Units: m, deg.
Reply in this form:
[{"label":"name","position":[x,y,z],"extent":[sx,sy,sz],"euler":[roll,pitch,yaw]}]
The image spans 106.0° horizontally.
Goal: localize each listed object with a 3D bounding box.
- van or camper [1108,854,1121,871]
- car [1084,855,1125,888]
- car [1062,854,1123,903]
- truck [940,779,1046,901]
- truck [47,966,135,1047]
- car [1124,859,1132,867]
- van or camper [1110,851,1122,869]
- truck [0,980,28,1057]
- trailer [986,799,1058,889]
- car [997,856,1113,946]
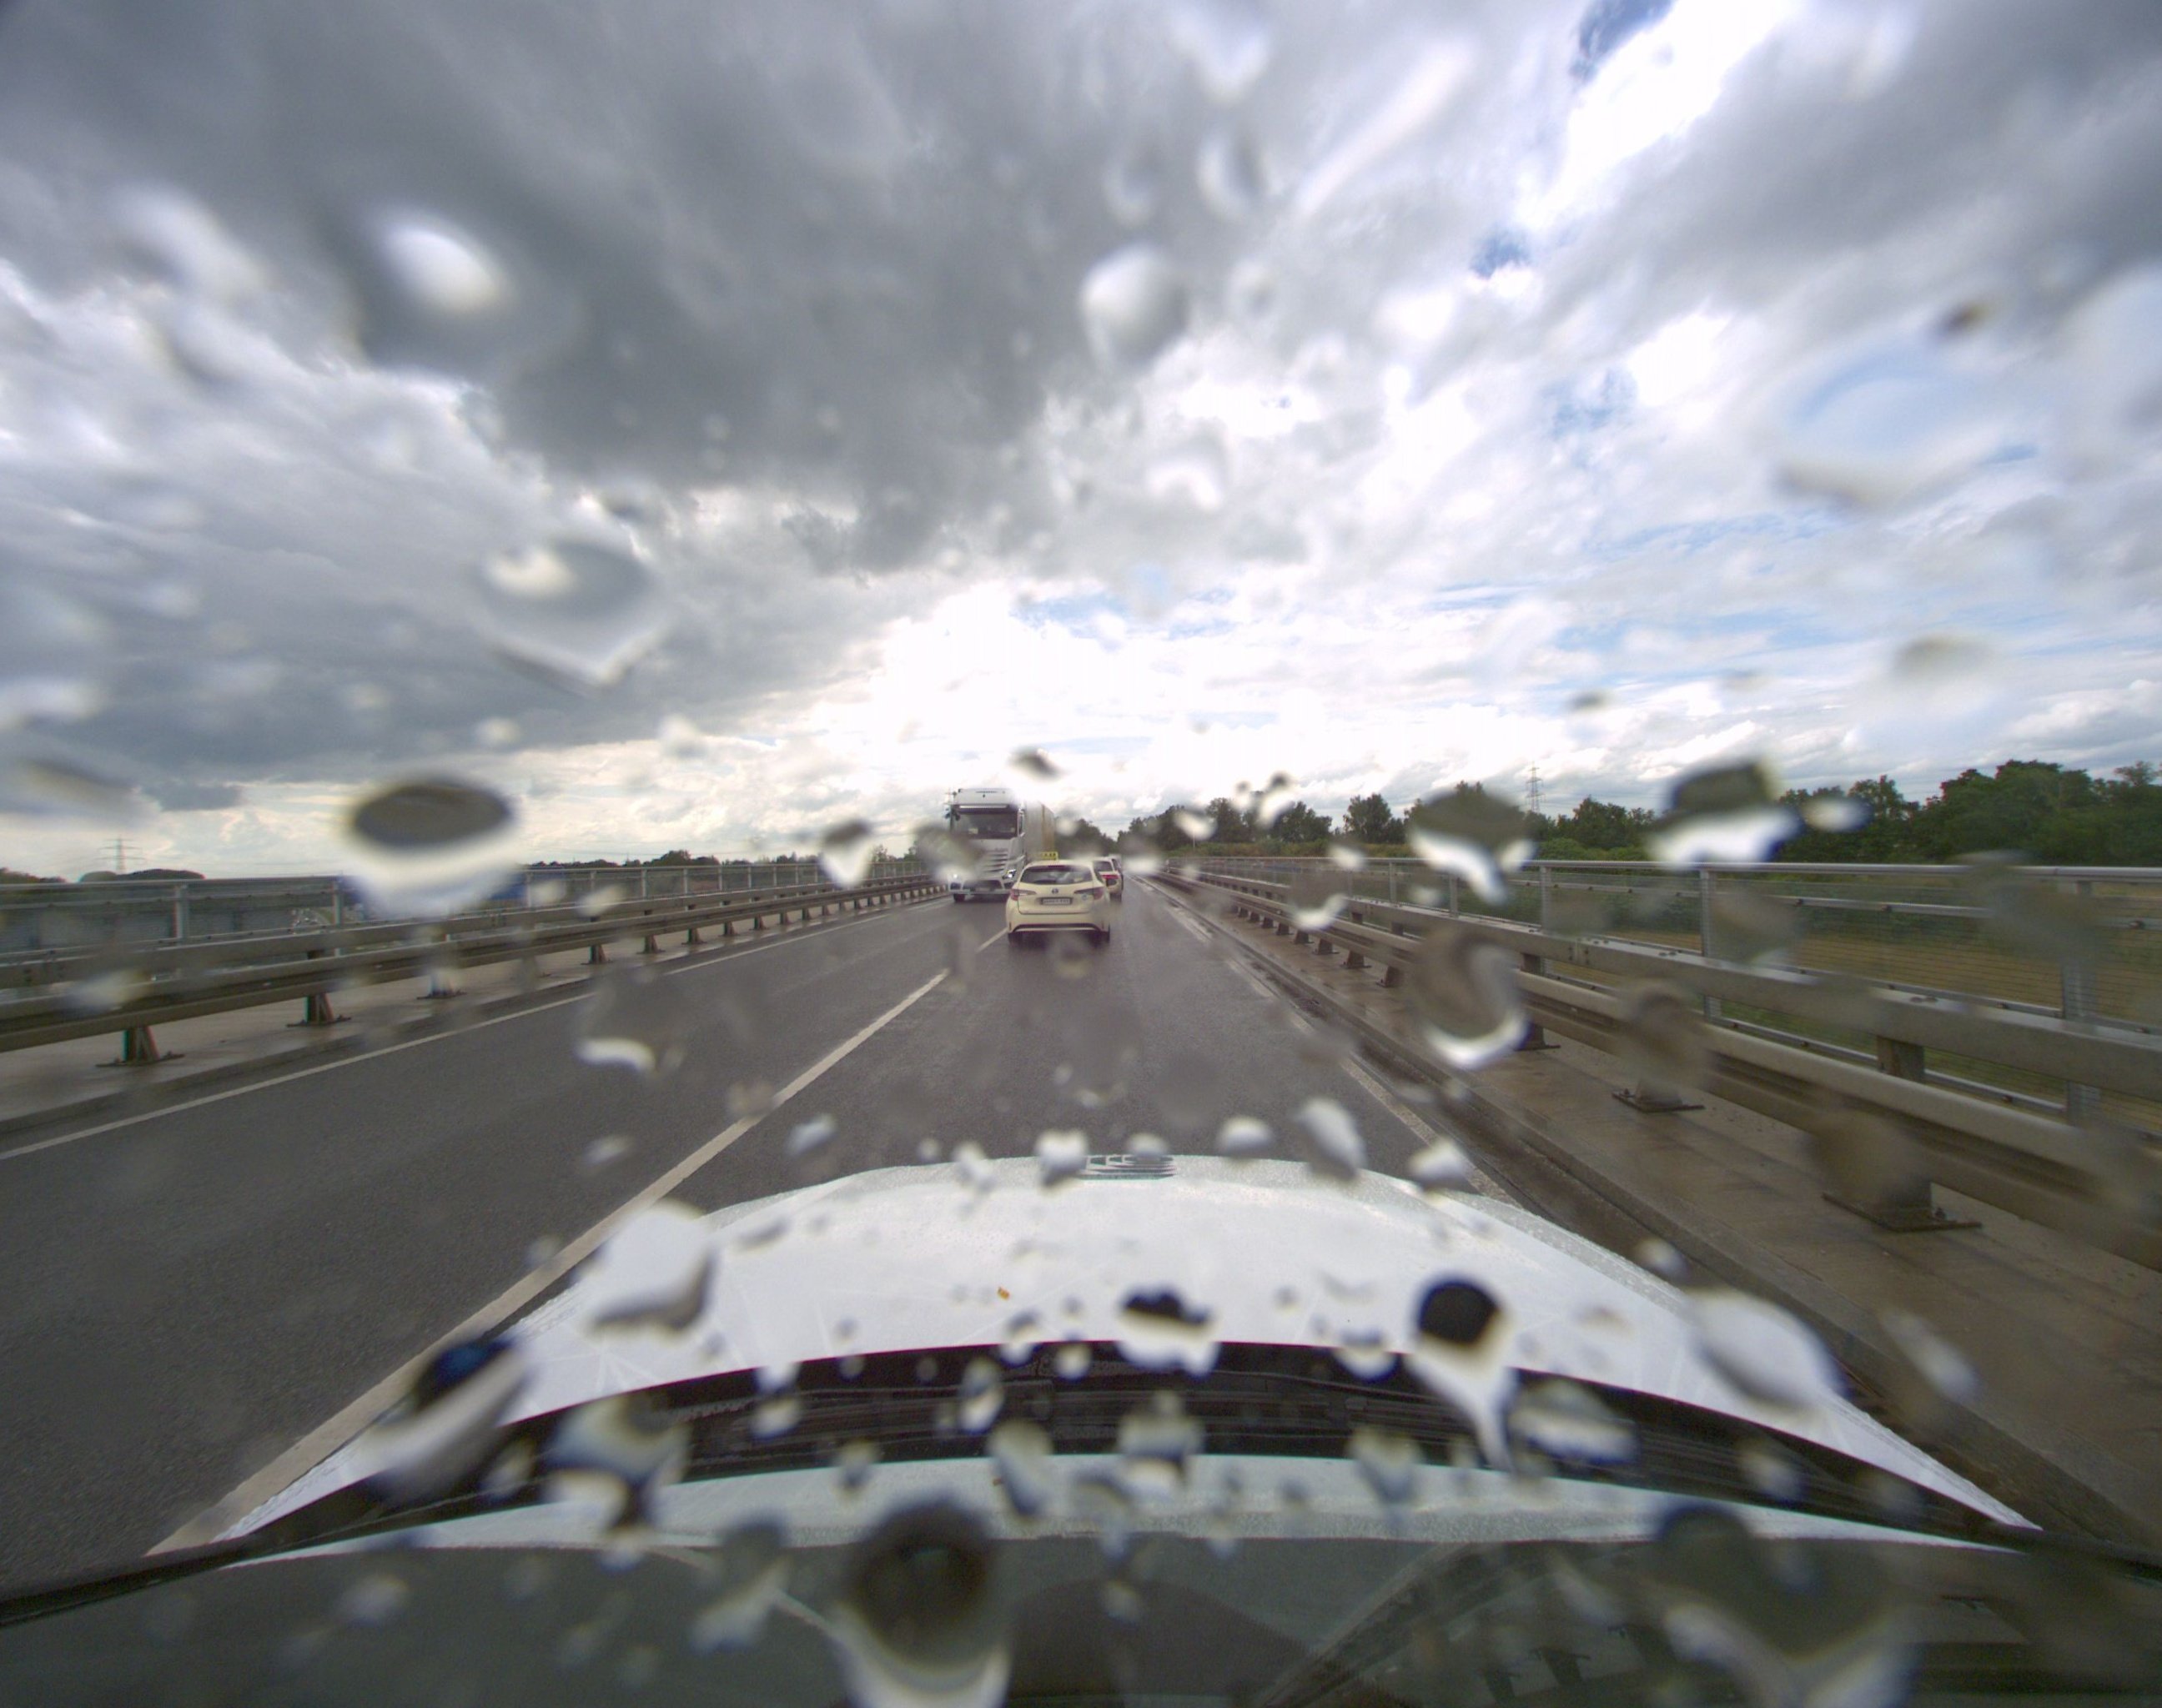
[{"label":"van or camper","position":[5.856,1.484,142.987],"extent":[2.324,2.864,6.309],"euler":[0,0,2]},{"label":"car","position":[1.128,0.800,38.926],"extent":[1.847,1.443,4.173],"euler":[0,0,2]},{"label":"car","position":[0.424,0.748,26.789],"extent":[1.847,1.443,4.173],"euler":[0,0,2]},{"label":"truck","position":[-3.141,-0.465,32.149],"extent":[2.672,4.017,10.060],"euler":[-1,0,2]},{"label":"truck","position":[-70.879,10.715,58.519],"extent":[2.450,4.001,11.035],"euler":[0,-1,-42]},{"label":"car","position":[12.964,2.527,223.832],"extent":[1.986,2.014,4.001],"euler":[0,0,1]},{"label":"van or camper","position":[7.150,1.191,166.541],"extent":[2.324,3.562,6.309],"euler":[0,0,2]},{"label":"truck","position":[-66.167,10.241,48.407],"extent":[2.450,4.001,11.035],"euler":[0,-1,-42]},{"label":"trailer","position":[-2.798,-0.467,41.401],"extent":[2.672,4.075,8.490],"euler":[-1,0,2]},{"label":"car","position":[-0.343,0.762,15.137],"extent":[1.847,1.394,4.173],"euler":[0,0,2]}]
